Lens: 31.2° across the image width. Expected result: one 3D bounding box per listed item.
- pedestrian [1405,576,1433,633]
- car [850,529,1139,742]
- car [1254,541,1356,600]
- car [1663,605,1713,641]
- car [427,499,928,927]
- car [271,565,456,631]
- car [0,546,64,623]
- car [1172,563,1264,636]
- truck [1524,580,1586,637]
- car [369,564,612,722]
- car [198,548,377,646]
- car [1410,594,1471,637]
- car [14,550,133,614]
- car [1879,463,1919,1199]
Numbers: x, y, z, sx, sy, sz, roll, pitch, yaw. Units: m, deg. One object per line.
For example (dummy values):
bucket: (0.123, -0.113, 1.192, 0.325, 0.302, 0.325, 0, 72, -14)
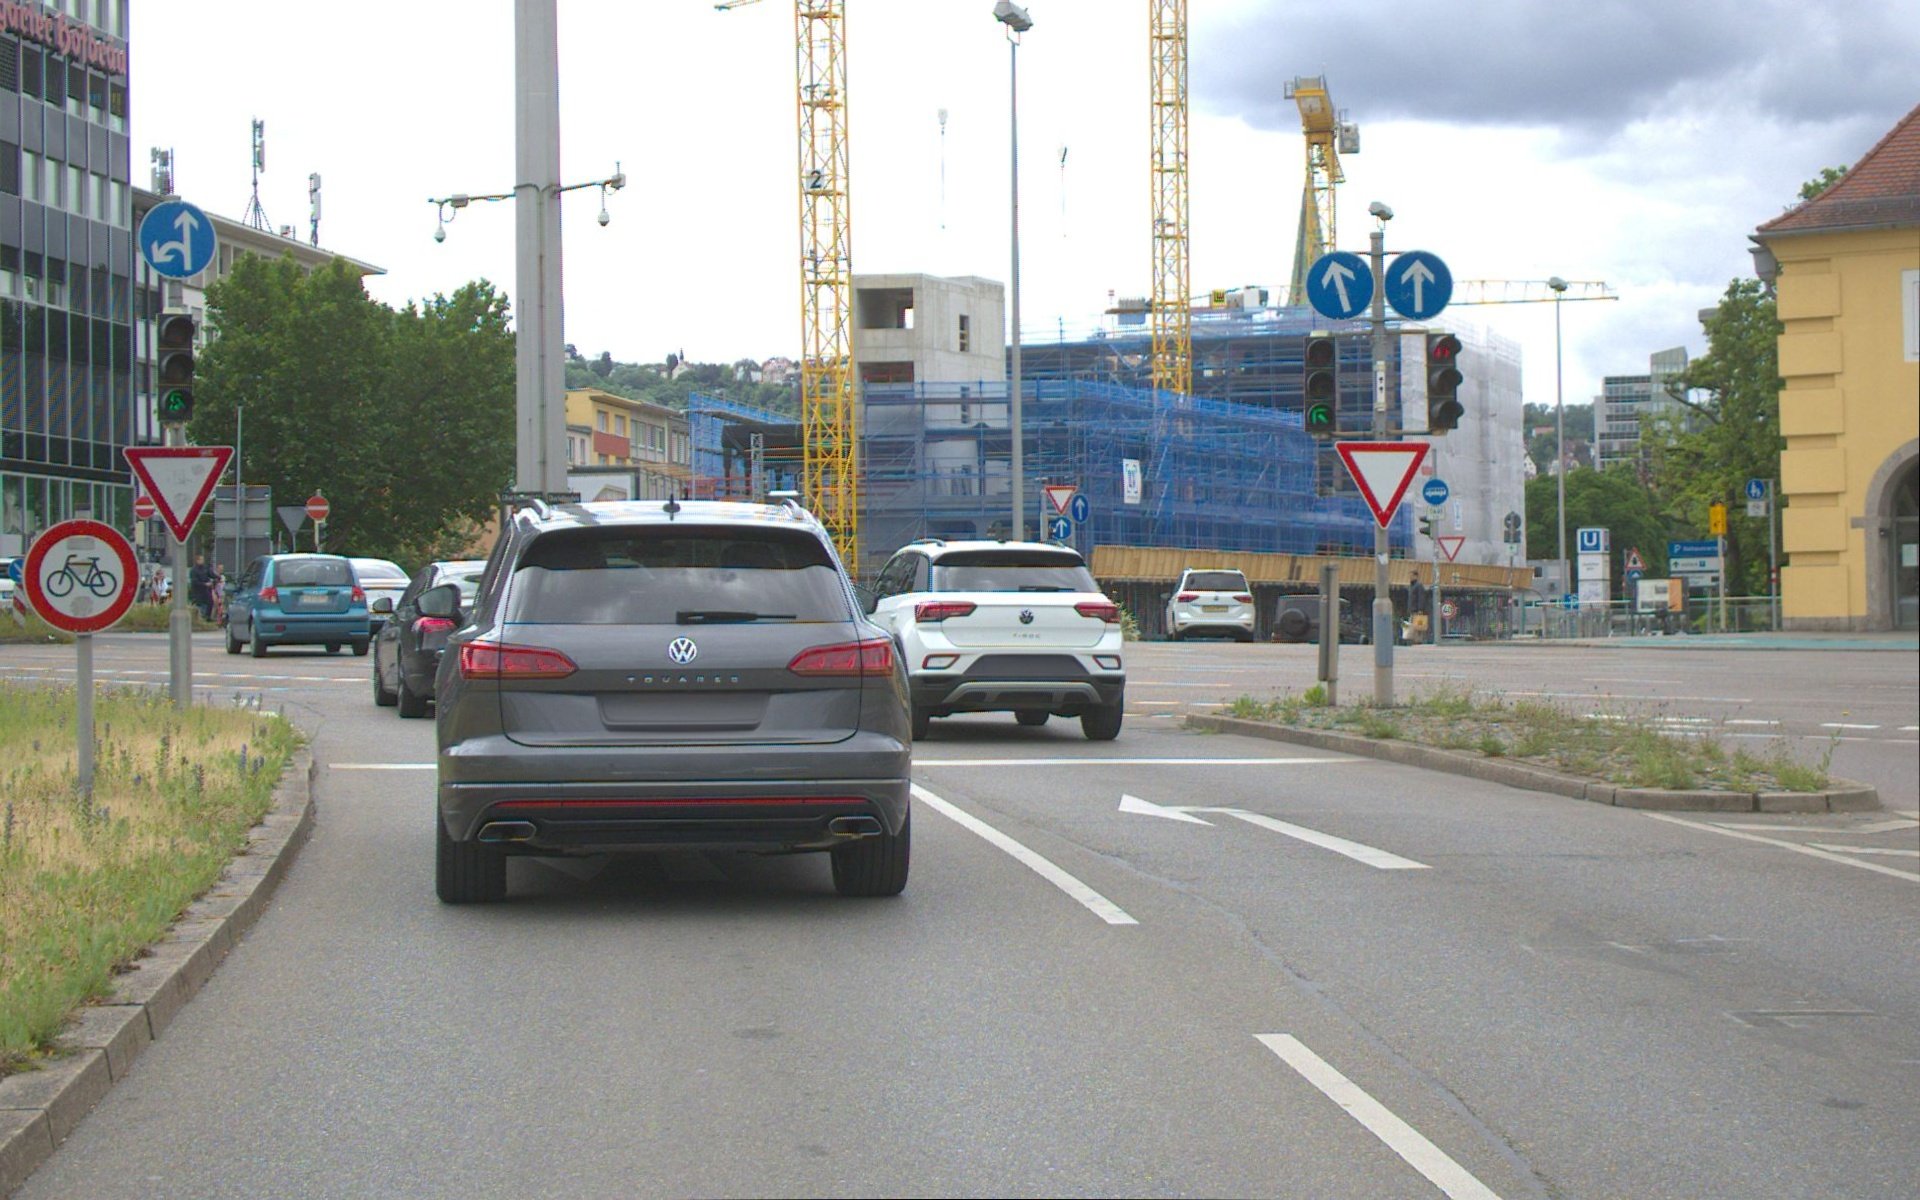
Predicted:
pedestrian: (10.480, 0.103, 78.467, 0.549, 1.277, 0.462, 1, 1, 18)
car: (0.204, 0.233, 27.863, 1.893, 1.580, 3.802, 0, 1, -6)
car: (10.050, -0.866, 99.804, 1.990, 1.661, 3.977, 1, 1, 21)
car: (42.899, 1.351, 202.551, 1.993, 2.007, 4.000, 0, 1, -2)
car: (-1.346, 0.384, 15.298, 1.932, 1.641, 4.001, 0, 1, -7)
car: (-10.731, -0.054, 61.652, 1.670, 1.135, 4.070, 0, 1, -35)
car: (-20.029, -0.349, 70.102, 1.815, 1.491, 3.904, -1, 2, -42)
car: (5.732, -0.026, 76.111, 1.803, 1.497, 3.980, 0, 2, 8)
truck: (27.069, 0.362, 156.297, 2.129, 2.445, 4.823, 1, 1, 18)
car: (-4.425, 0.353, 31.935, 1.792, 1.352, 4.071, 0, 1, -14)
car: (-9.771, -0.069, 49.751, 1.792, 1.352, 4.071, 0, 1, -22)
car: (17.633, 0.559, 126.064, 1.804, 1.497, 3.978, 0, 1, 14)
car: (-20.012, -0.424, 77.525, 1.640, 1.392, 3.597, 0, 1, -31)
car: (2.725, 0.632, 4.173, 1.819, 1.641, 4.380, 0, 1, -3)
